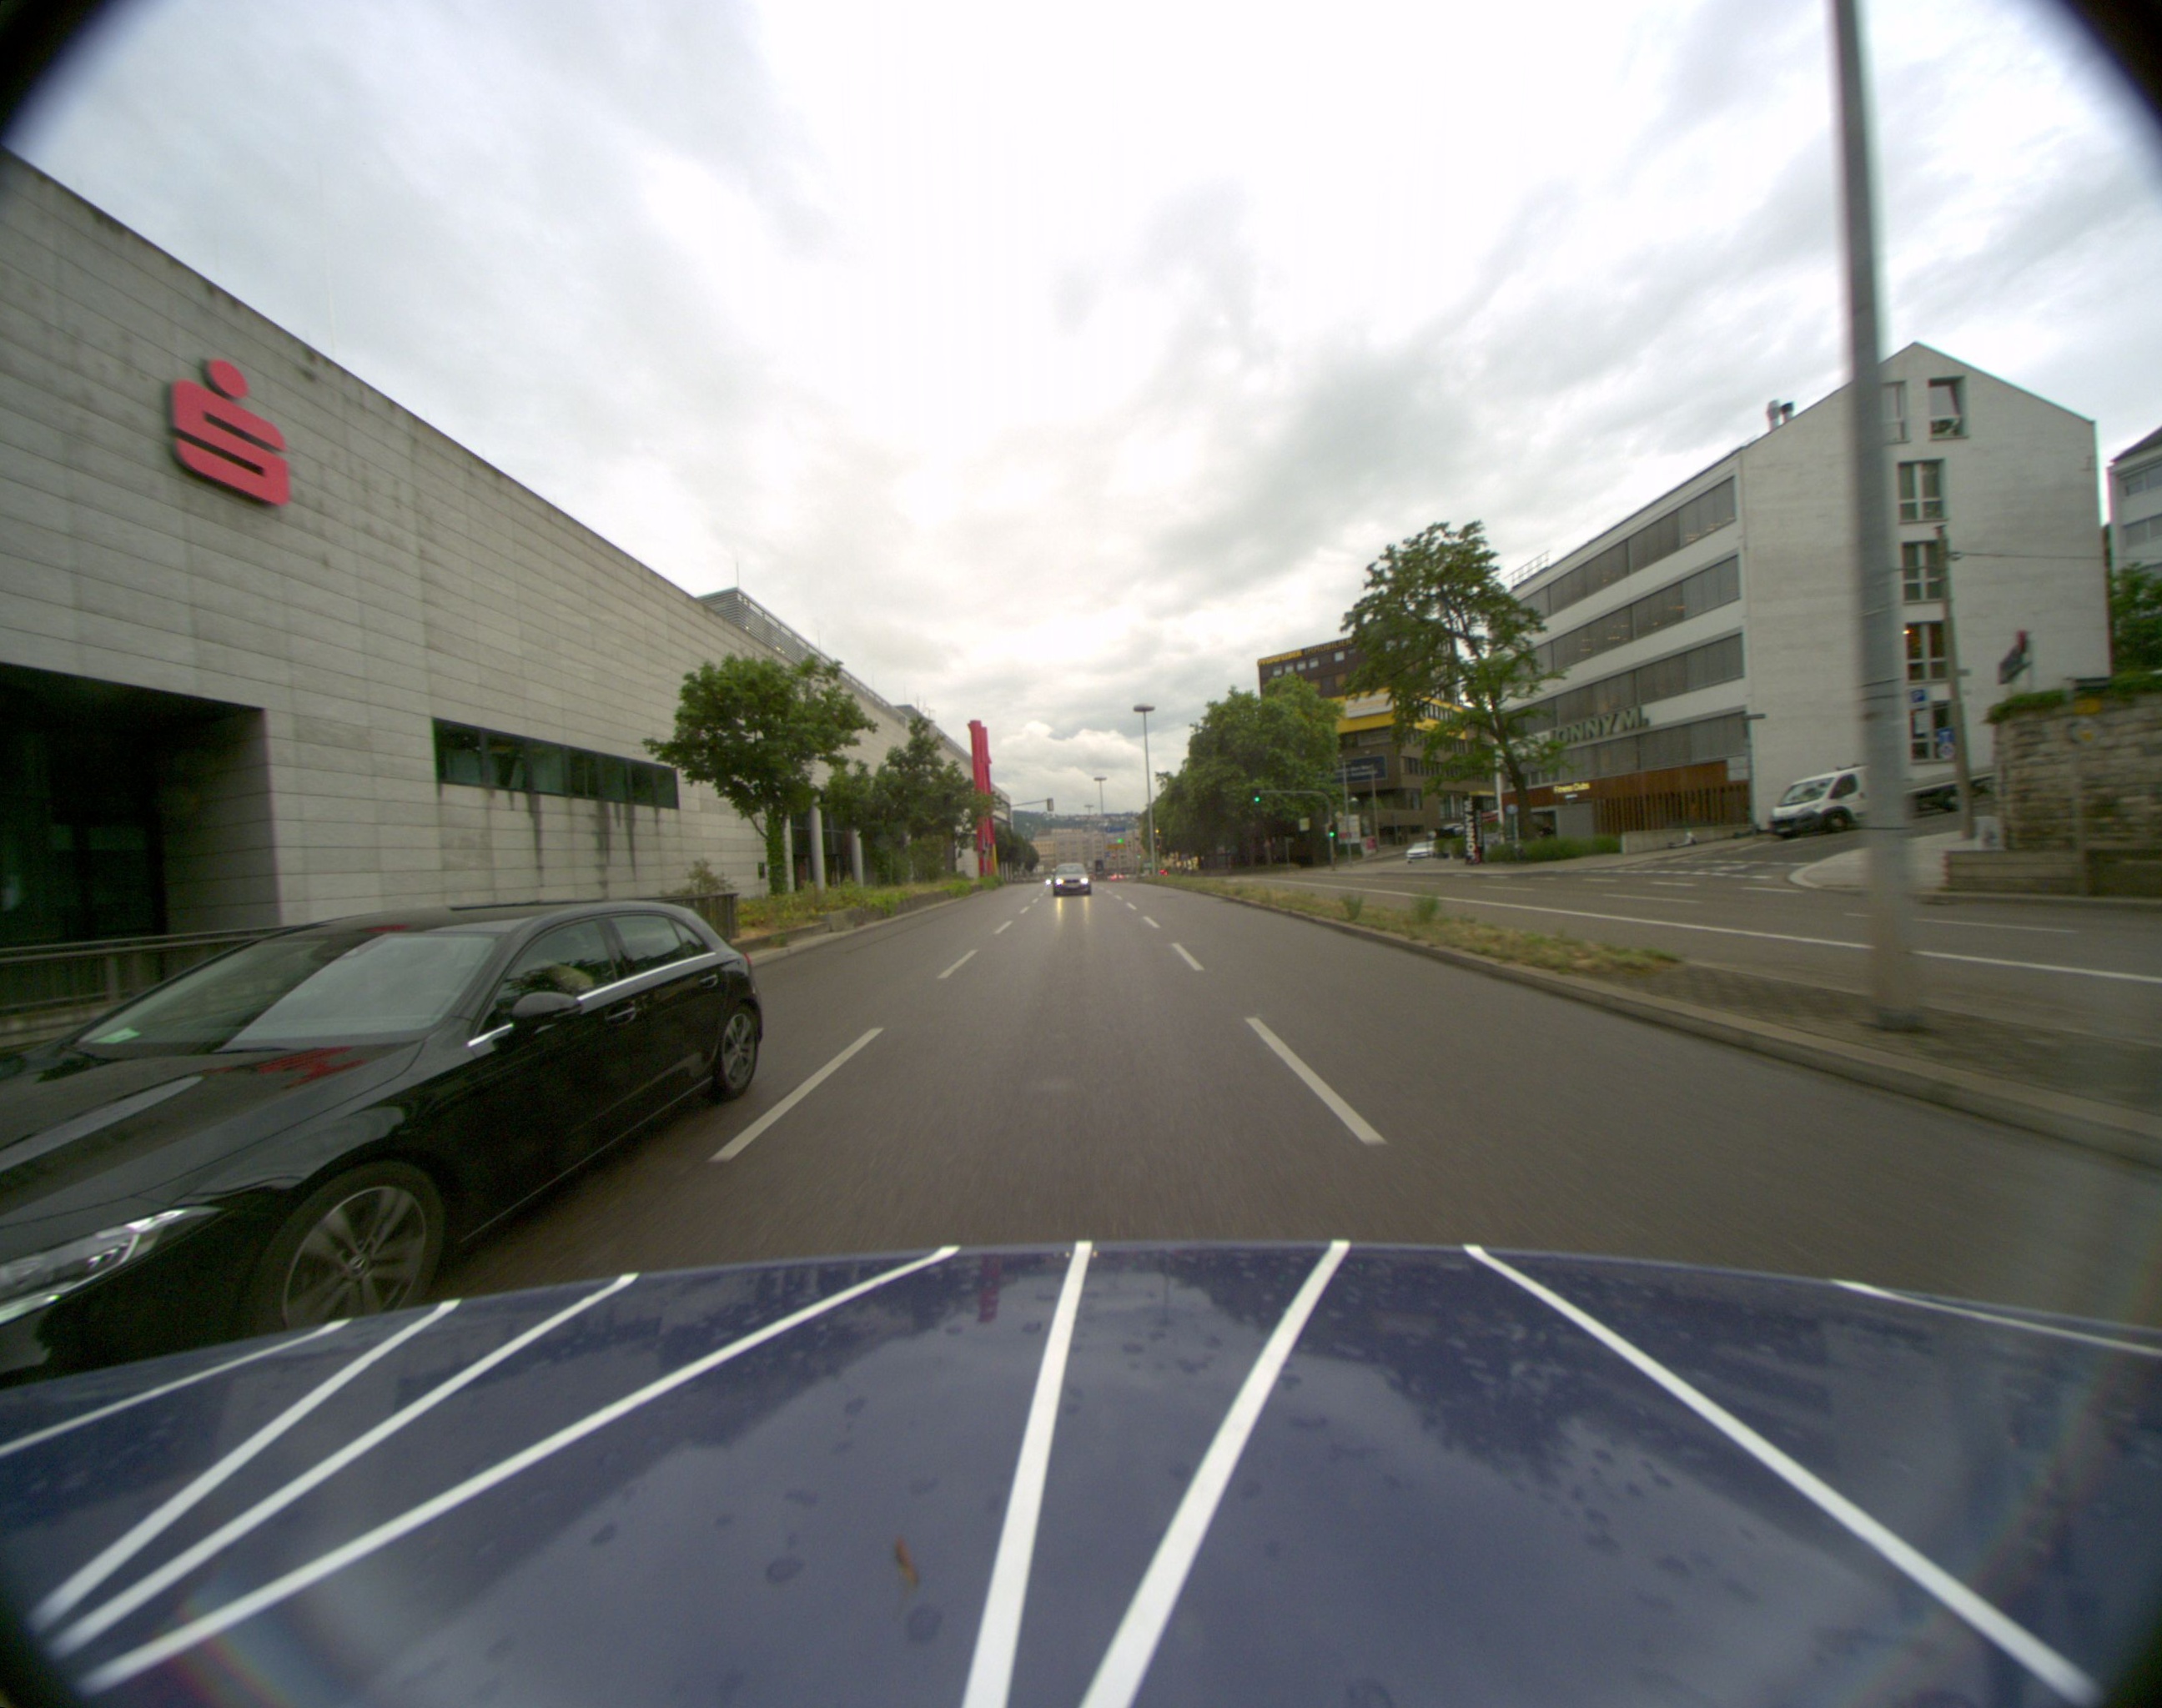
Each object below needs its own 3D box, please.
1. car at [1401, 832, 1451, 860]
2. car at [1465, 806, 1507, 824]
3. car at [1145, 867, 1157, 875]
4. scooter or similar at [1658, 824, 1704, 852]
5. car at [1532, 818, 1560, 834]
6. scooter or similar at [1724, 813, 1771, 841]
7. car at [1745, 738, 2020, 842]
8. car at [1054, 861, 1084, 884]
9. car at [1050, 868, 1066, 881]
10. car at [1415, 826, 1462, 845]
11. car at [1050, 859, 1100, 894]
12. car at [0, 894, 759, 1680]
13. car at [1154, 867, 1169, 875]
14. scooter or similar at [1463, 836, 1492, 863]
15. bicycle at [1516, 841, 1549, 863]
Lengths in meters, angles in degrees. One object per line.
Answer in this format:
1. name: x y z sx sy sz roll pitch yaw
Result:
1. car: 24.944 -0.614 54.879 1.995 1.644 4.851 -5 0 39
2. car: 47.703 -4.603 89.578 3.989 1.675 1.823 -3 3 43
3. car: 14.608 3.599 158.668 1.758 1.509 4.170 -2 -1 -3
4. scooter or similar: 24.693 -0.653 31.272 1.473 0.916 0.444 -8 -1 -2
5. car: 54.846 -3.334 89.649 1.995 1.566 4.495 -5 0 41
6. scooter or similar: 27.206 -1.094 31.024 1.473 0.916 0.444 -8 -1 -2
7. car: 28.948 -2.257 27.689 6.919 2.261 2.516 -10 -4 1
8. car: -0.794 1.259 51.632 1.863 1.449 4.207 -1 -2 1
9. car: -2.916 2.552 95.598 1.863 1.428 4.204 -3 0 -1
10. car: 37.632 -1.953 80.036 3.990 1.674 1.824 -4 0 43
11. car: -0.211 1.051 34.964 1.862 1.427 4.209 -3 -3 4
12. car: -3.281 1.072 3.324 1.877 1.428 4.204 -3 1 0
13. car: 15.786 3.363 148.812 1.999 1.438 4.880 -2 -1 -5
14. scooter or similar: 20.717 -0.220 39.705 1.757 1.240 0.369 -6 1 -29
15. bicycle: 21.108 -0.096 35.544 0.458 0.985 1.758 -4 0 1
